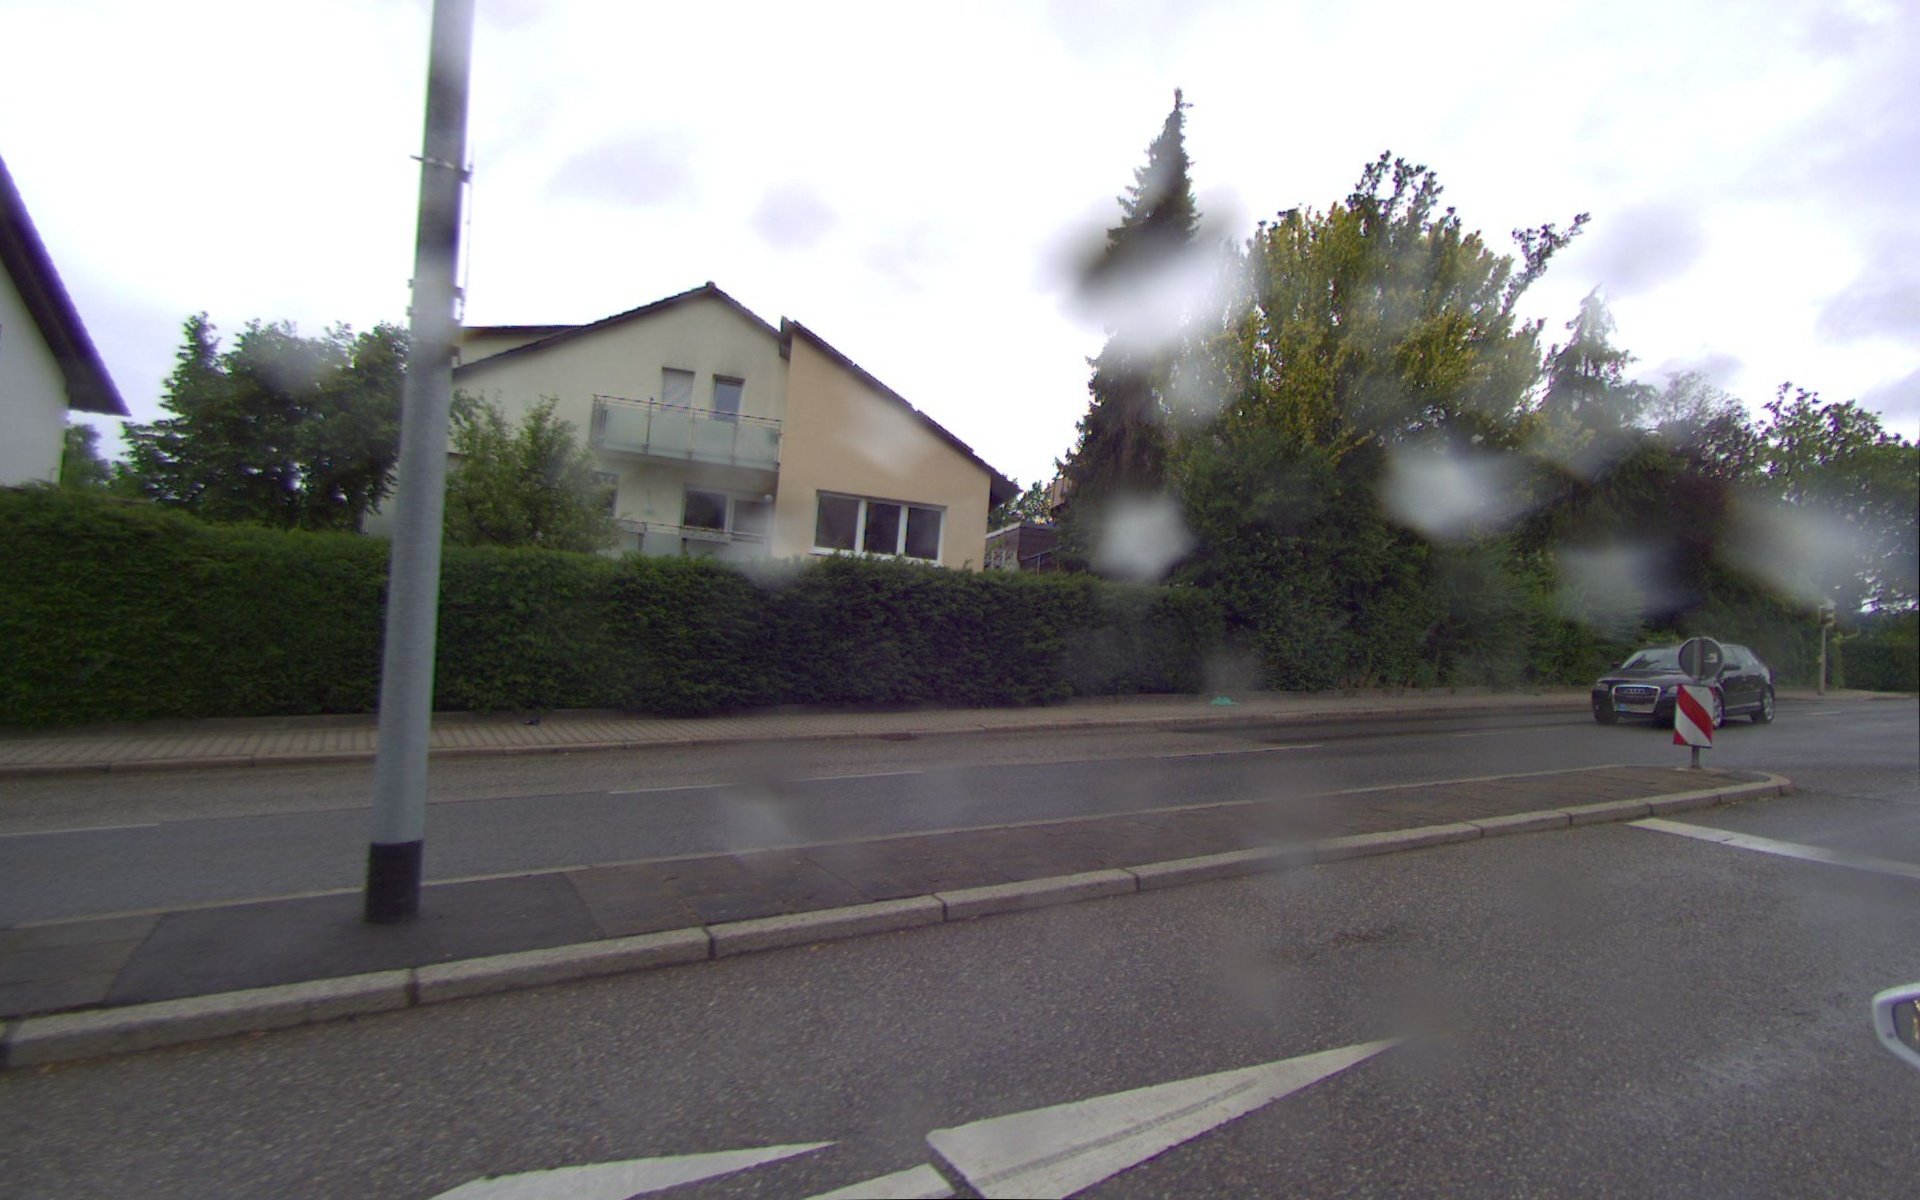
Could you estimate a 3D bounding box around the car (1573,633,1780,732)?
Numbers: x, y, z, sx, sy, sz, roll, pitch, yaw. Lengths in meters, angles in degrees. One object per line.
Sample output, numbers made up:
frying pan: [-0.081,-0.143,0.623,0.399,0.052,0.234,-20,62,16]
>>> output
car: [12.553,1.369,17.540,3.796,1.512,1.850,2,-2,-36]
